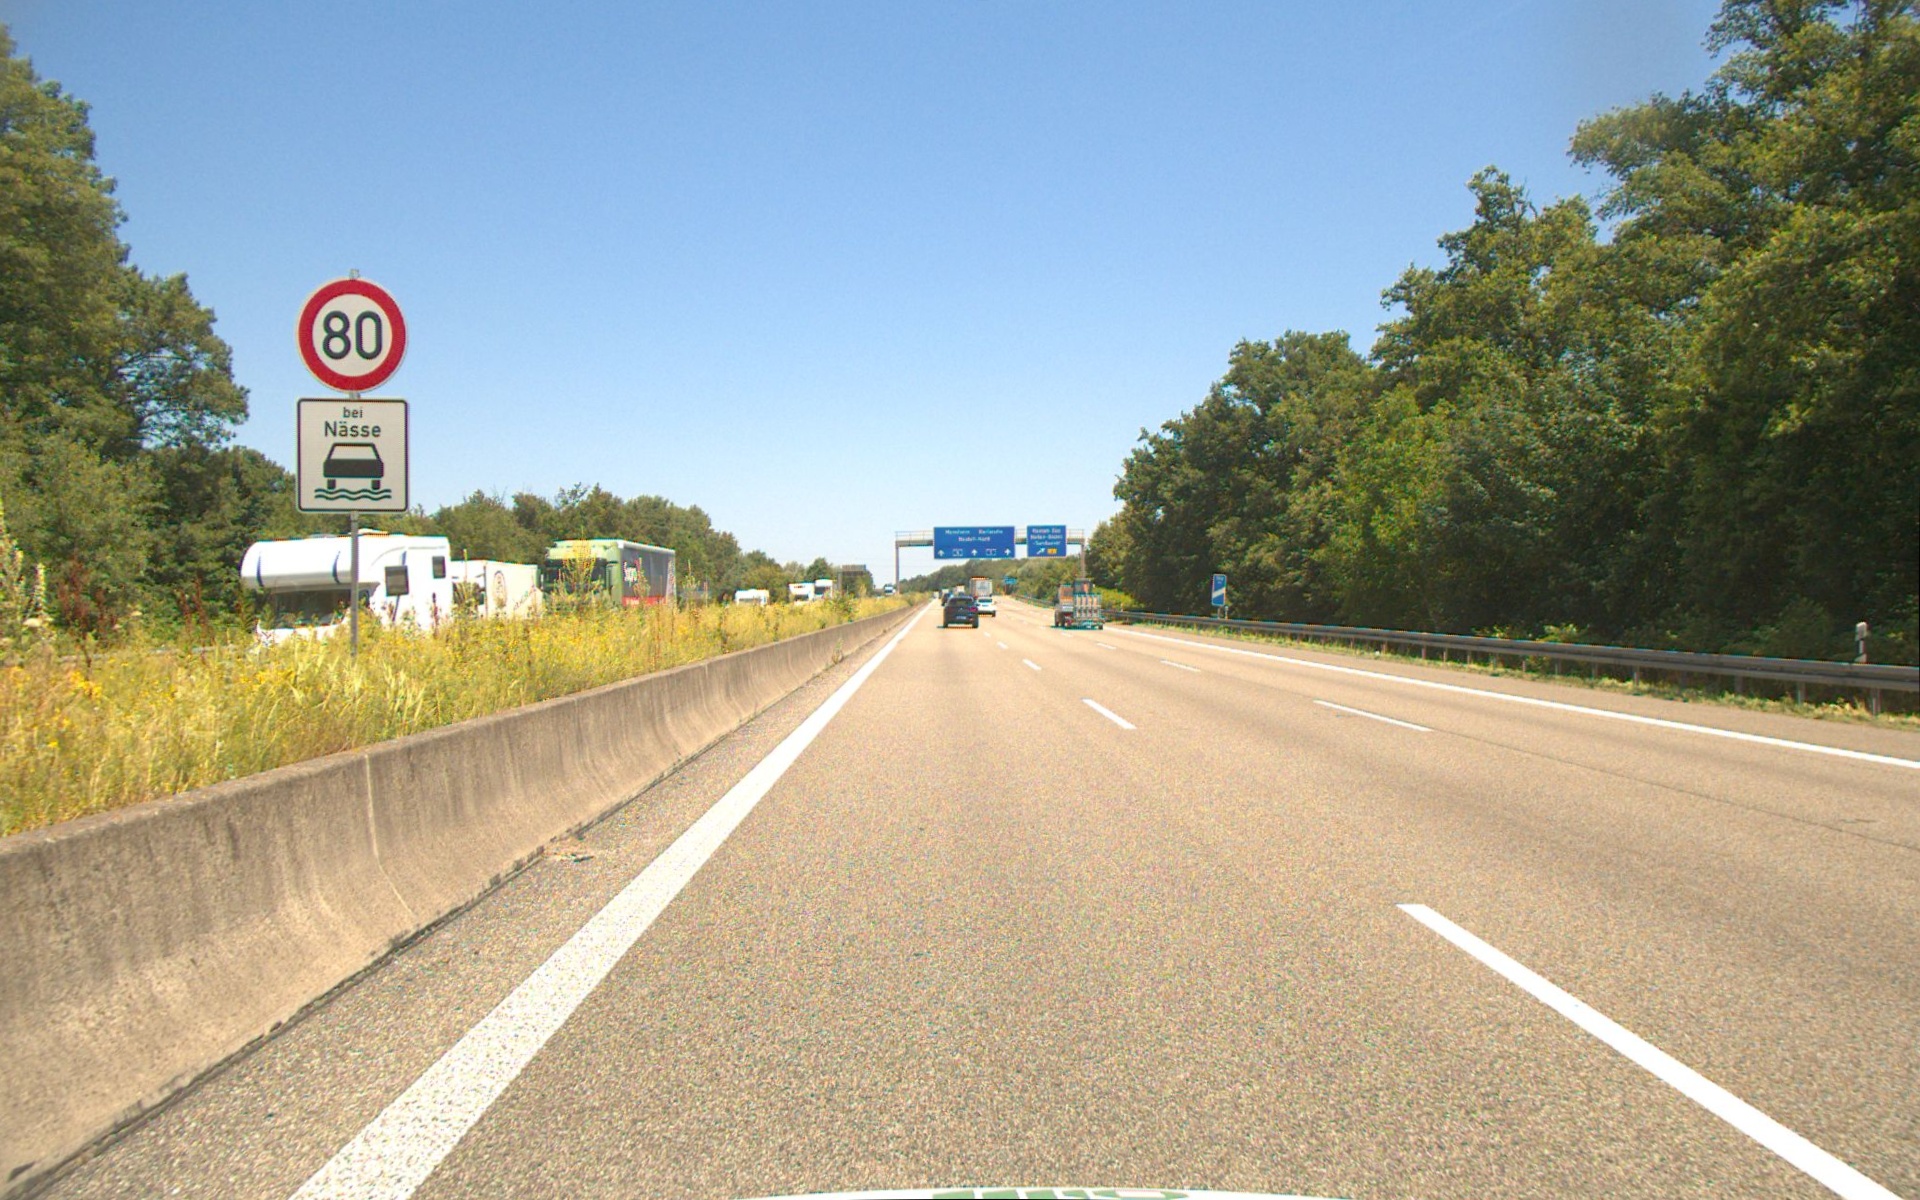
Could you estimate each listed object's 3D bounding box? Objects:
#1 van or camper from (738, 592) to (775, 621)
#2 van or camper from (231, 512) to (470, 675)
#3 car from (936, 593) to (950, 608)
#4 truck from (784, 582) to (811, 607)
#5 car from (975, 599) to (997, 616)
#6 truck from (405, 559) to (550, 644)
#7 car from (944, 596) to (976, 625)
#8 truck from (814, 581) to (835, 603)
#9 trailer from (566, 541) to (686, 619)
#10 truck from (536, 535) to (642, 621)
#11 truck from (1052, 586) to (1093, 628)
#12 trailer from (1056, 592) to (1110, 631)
[{"bbox_3d":[-15.171,0.494,123.613,2.177,2.049,5.885,1,0,-2],"label":"van or camper"},{"bbox_3d":[-13.155,-0.141,36.436,2.456,3.210,7.533,1,0,0],"label":"van or camper"},{"bbox_3d":[-2.599,0.094,248.320,1.953,2.049,3.999,-2,0,-1],"label":"car"},{"bbox_3d":[-15.438,-0.469,157.677,2.264,2.367,6.076,0,0,-3],"label":"truck"},{"bbox_3d":[2.239,0.639,141.929,1.705,1.512,3.999,0,0,-1],"label":"car"},{"bbox_3d":[-18.309,0.050,63.556,2.632,2.993,10.484,0,0,-1],"label":"truck"},{"bbox_3d":[-0.022,0.573,92.140,1.627,1.576,3.781,0,0,-2],"label":"car"},{"bbox_3d":[-19.905,-1.141,242.699,2.589,3.138,5.847,1,0,-1],"label":"truck"},{"bbox_3d":[-14.095,-0.783,71.102,2.589,3.021,14.228,0,0,-1],"label":"trailer"},{"bbox_3d":[-13.899,-0.780,62.531,2.554,3.061,6.970,0,0,-1],"label":"truck"},{"bbox_3d":[6.537,0.377,96.632,1.953,2.415,4.643,0,0,-2],"label":"truck"},{"bbox_3d":[6.746,0.593,91.284,2.372,2.049,6.031,0,0,-2],"label":"trailer"}]
